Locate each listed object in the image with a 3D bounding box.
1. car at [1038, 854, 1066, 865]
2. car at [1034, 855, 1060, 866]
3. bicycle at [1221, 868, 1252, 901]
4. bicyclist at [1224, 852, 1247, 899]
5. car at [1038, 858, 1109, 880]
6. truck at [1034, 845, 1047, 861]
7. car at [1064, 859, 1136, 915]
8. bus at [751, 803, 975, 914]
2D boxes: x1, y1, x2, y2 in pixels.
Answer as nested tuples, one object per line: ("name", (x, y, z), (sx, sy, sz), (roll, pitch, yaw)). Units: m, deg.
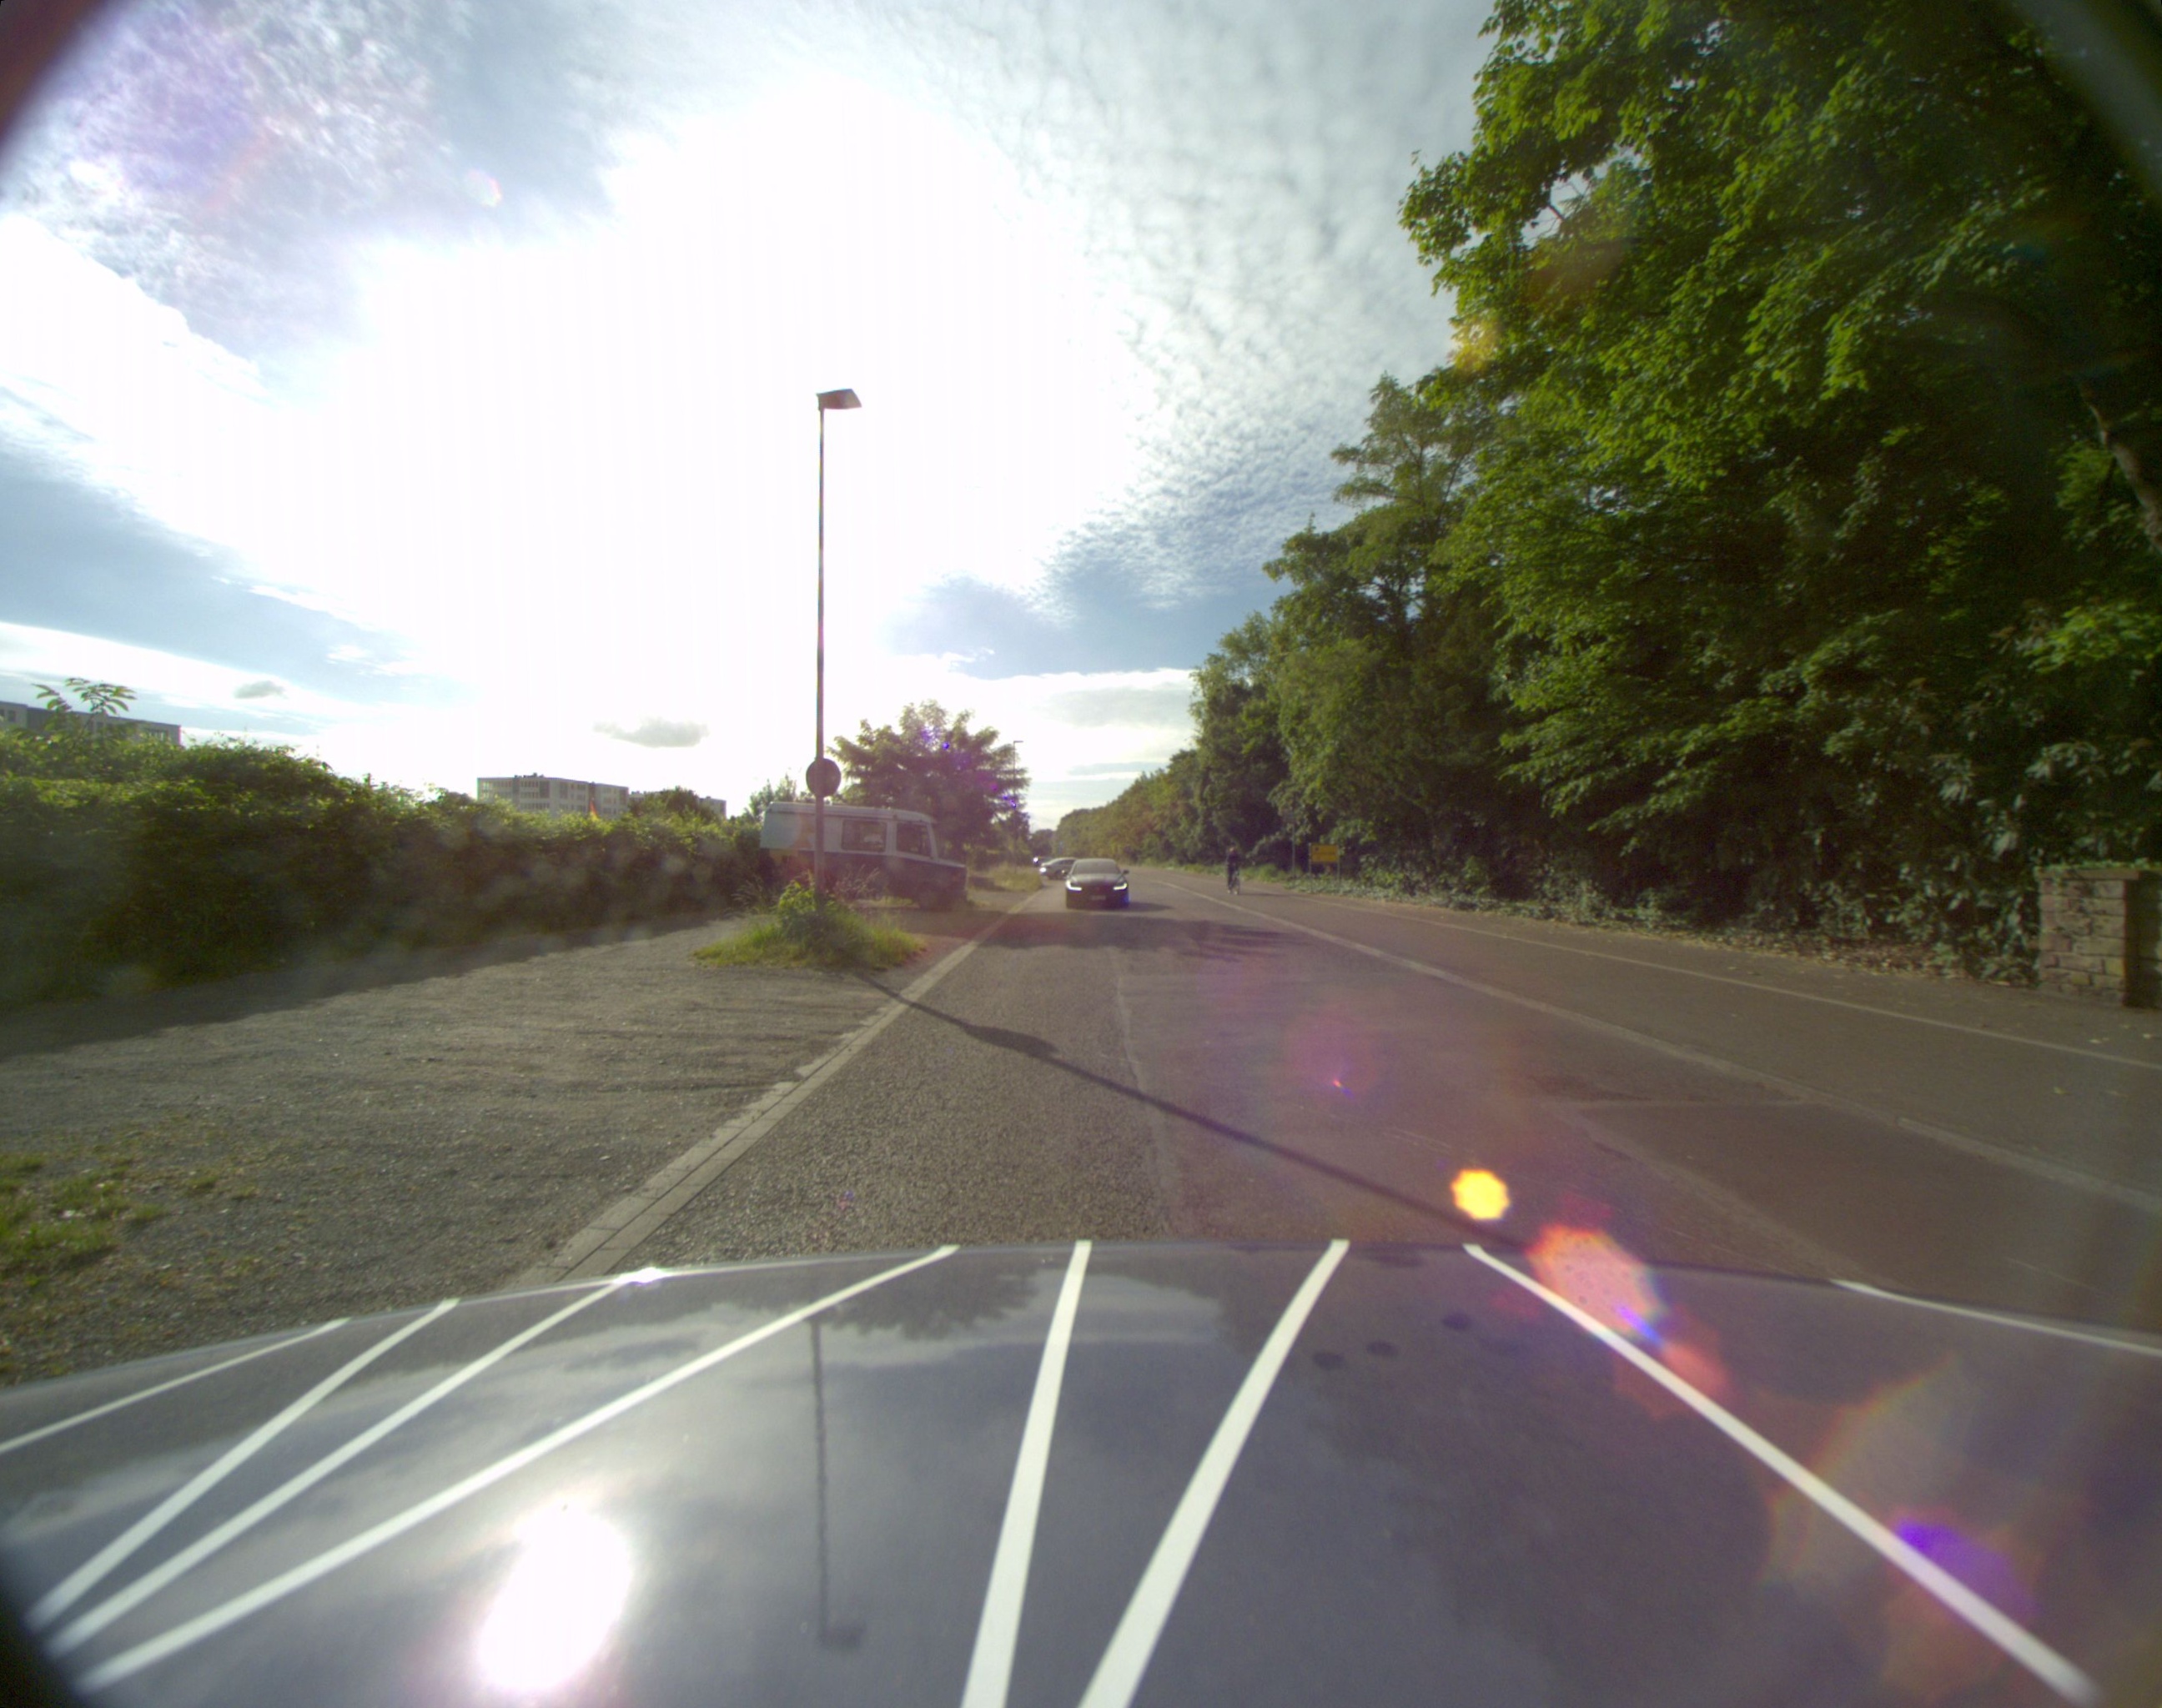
("car", (-4.858, 0.924, 126.273), (4.599, 1.689, 1.763), (1, 0, 0))
("car", (-5.097, 0.953, 115.427), (3.867, 1.481, 1.692), (3, -1, -1))
("bicycle", (5.672, 1.084, 27.895), (0.664, 1.091, 2.348), (-2, 0, 1))
("bicyclist", (5.669, 0.787, 27.887), (0.610, 1.667, 0.883), (-2, 1, 1))
("car", (-0.516, 0.999, 51.135), (4.380, 1.435, 1.929), (0, 1, -19))
("truck", (-10.375, -0.274, 195.594), (2.604, 3.935, 6.279), (3, -1, -8))
("car", (0.473, 0.909, 23.071), (1.936, 1.500, 4.679), (-1, 0, -1))
("bus", (-5.681, 0.132, 20.370), (5.380, 2.730, 2.068), (1, 0, -3))
